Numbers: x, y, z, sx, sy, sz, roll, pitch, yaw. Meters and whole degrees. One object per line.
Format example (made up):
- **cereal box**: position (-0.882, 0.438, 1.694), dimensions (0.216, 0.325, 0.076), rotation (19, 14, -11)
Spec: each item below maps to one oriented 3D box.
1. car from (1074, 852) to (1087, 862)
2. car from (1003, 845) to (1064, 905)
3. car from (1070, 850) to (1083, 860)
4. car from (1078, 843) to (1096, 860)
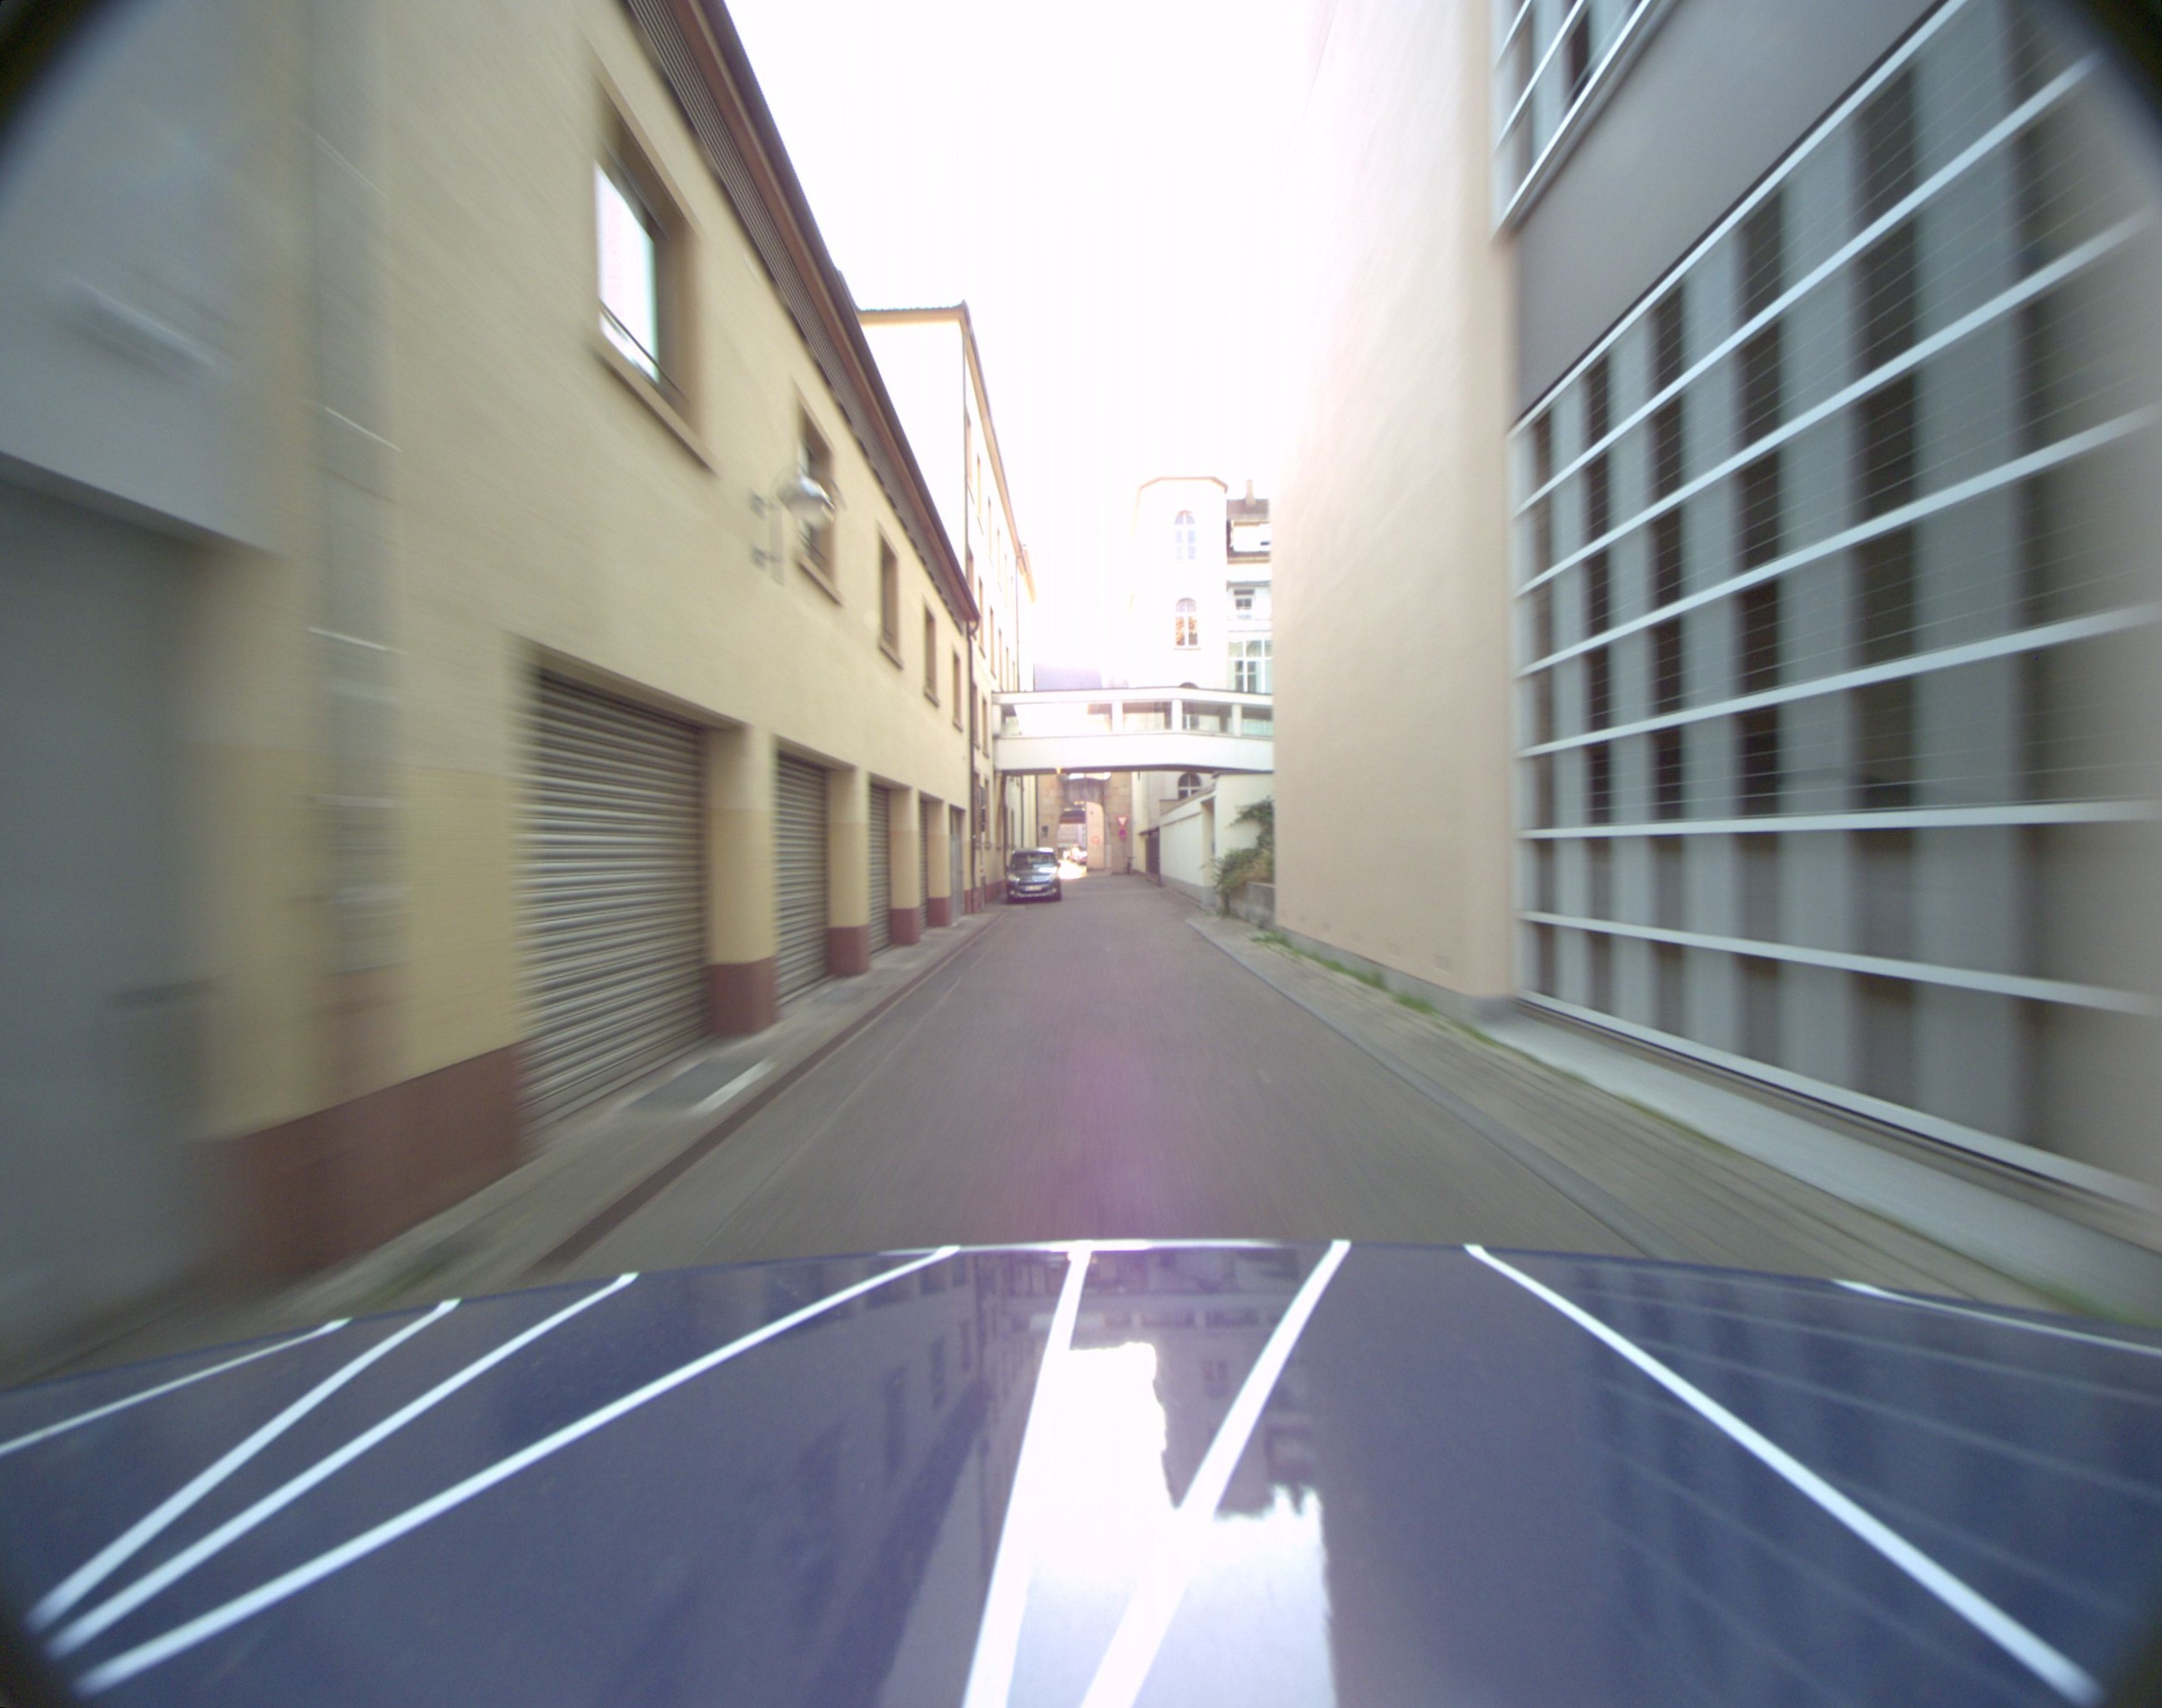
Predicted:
- **car**: position (-0.093, 0.395, 109.669), dimensions (1.806, 1.415, 3.754), rotation (-2, 0, -2)
- **car**: position (-1.537, 0.645, 25.941), dimensions (1.764, 1.756, 4.749), rotation (-3, 0, -1)
- **car**: position (-0.655, 0.131, 115.329), dimensions (1.806, 1.415, 3.754), rotation (-2, 0, -3)
- **car**: position (0.651, -0.317, 90.954), dimensions (1.999, 1.805, 3.999), rotation (-3, 1, -1)
